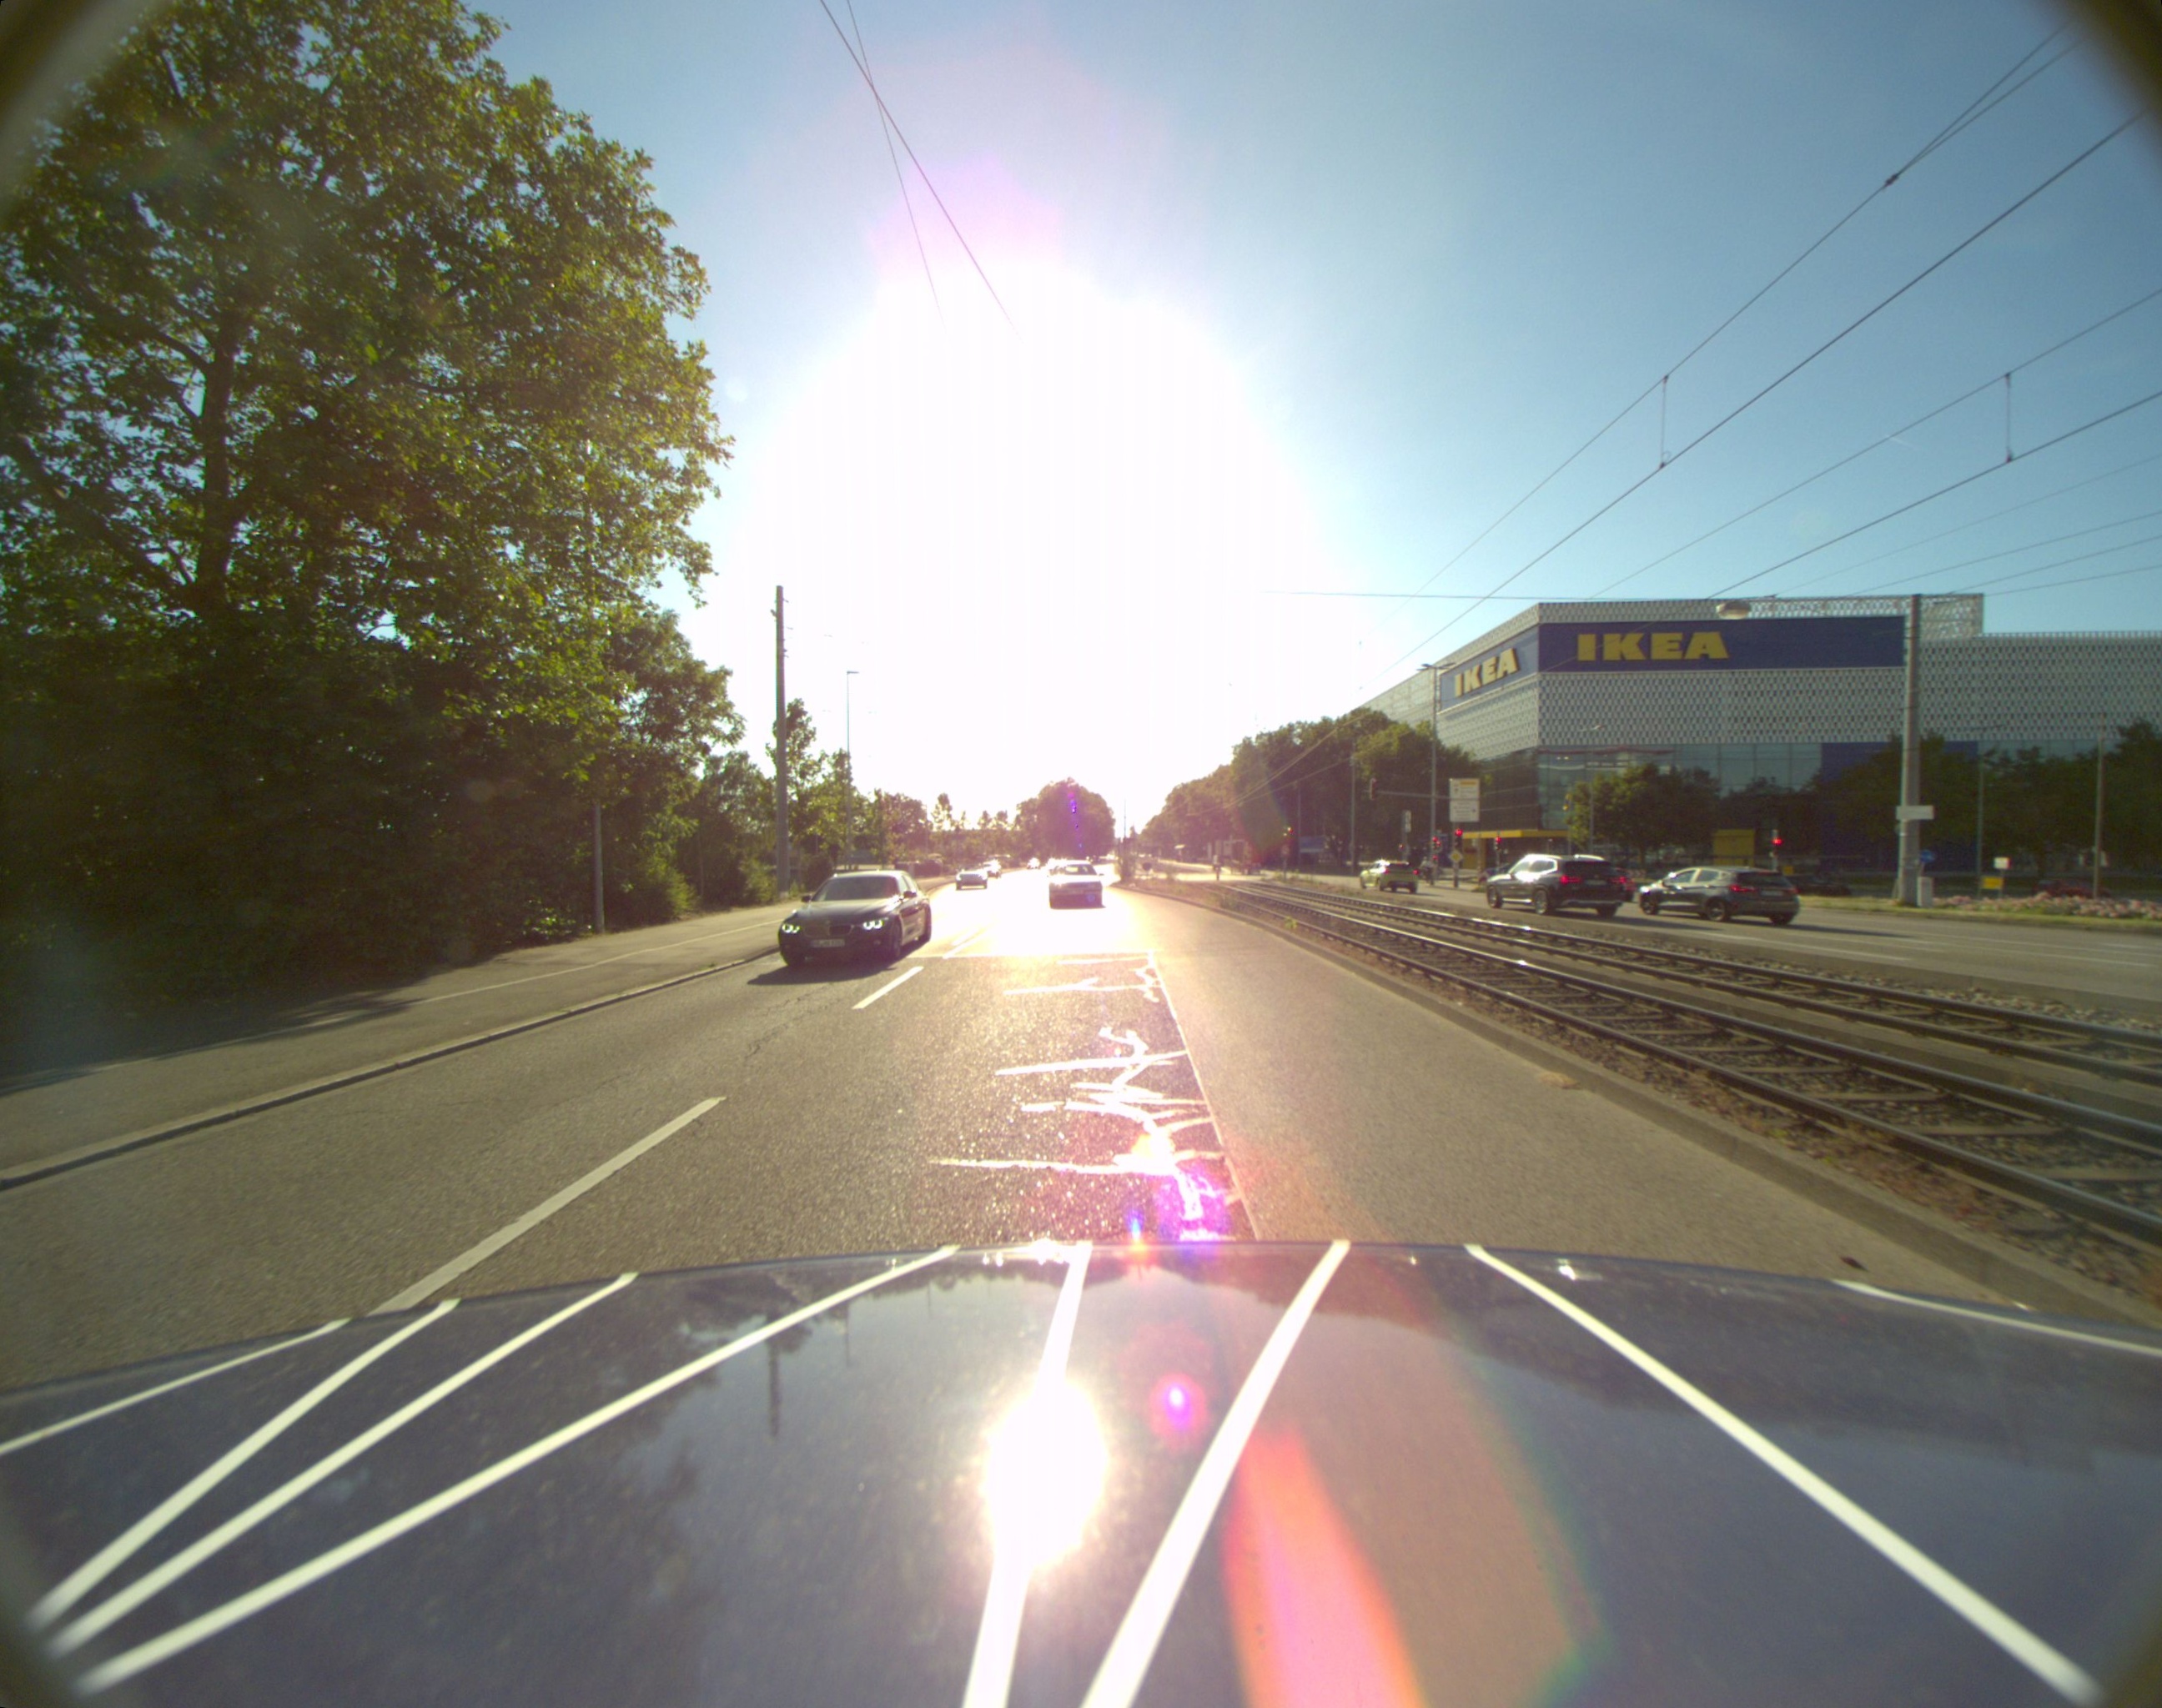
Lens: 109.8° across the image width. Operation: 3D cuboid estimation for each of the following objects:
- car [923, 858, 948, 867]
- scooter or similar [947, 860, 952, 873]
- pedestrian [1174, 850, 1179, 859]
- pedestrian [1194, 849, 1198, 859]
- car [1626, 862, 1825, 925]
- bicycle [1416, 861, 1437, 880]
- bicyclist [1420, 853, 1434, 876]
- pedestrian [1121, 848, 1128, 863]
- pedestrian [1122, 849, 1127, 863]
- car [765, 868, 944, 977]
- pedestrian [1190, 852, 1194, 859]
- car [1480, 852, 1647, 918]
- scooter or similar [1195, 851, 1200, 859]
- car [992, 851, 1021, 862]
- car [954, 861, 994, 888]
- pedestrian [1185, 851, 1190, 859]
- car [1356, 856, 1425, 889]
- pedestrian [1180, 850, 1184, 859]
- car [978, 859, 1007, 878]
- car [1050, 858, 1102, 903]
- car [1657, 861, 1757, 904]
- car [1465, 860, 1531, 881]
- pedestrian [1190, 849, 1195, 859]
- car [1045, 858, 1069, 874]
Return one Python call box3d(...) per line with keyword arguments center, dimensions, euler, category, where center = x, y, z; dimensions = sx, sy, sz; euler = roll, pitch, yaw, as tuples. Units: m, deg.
box3d(center=(-29.907, 1.765, 156.399), dimensions=(4.660, 1.560, 1.859), euler=(-3, 0, 0), category="car")
box3d(center=(-13.199, 1.249, 76.322), dimensions=(0.525, 1.224, 1.265), euler=(0, 1, -11), category="scooter or similar")
box3d(center=(18.008, 0.156, 143.435), dimensions=(0.763, 1.700, 0.678), euler=(-2, 0, 4), category="pedestrian")
box3d(center=(19.004, -0.029, 125.987), dimensions=(0.603, 1.610, 0.691), euler=(-2, 1, 7), category="pedestrian")
box3d(center=(17.018, 0.977, 20.395), dimensions=(1.861, 1.452, 4.137), euler=(0, 0, 1), category="car")
box3d(center=(22.378, 1.041, 49.223), dimensions=(0.589, 1.161, 1.992), euler=(-1, 0, 3), category="bicycle")
box3d(center=(22.388, 0.682, 49.121), dimensions=(0.589, 1.514, 0.751), euler=(-1, 1, 3), category="bicyclist")
box3d(center=(5.324, 0.155, 92.267), dimensions=(0.708, 1.765, 0.535), euler=(-3, 1, 7), category="pedestrian")
box3d(center=(5.210, 0.263, 90.484), dimensions=(0.535, 1.647, 0.751), euler=(-2, 1, 5), category="pedestrian")
box3d(center=(-3.790, 1.064, 13.634), dimensions=(1.871, 1.459, 4.585), euler=(-2, 1, -1), category="car")
box3d(center=(18.818, 0.198, 128.687), dimensions=(0.603, 1.217, 0.617), euler=(-2, 1, 6), category="pedestrian")
box3d(center=(13.645, 0.801, 21.889), dimensions=(1.998, 1.646, 4.659), euler=(1, 0, 3), category="car")
box3d(center=(18.777, 0.180, 122.885), dimensions=(0.665, 1.227, 1.372), euler=(-1, 0, 2), category="scooter or similar")
box3d(center=(-14.460, 0.495, 147.545), dimensions=(5.349, 2.010, 2.104), euler=(-3, 0, 1), category="car")
box3d(center=(-6.185, 1.146, 44.258), dimensions=(1.857, 1.415, 3.979), euler=(-1, 0, -2), category="car")
box3d(center=(18.805, 0.188, 134.277), dimensions=(0.654, 1.245, 0.685), euler=(-3, 0, 0), category="pedestrian")
box3d(center=(14.674, 0.838, 36.296), dimensions=(1.787, 1.439, 4.108), euler=(1, 0, 3), category="car")
box3d(center=(18.358, 0.122, 137.717), dimensions=(0.661, 1.623, 0.777), euler=(-2, 1, 4), category="pedestrian")
box3d(center=(-7.625, 1.243, 65.861), dimensions=(1.740, 1.502, 4.001), euler=(-2, 0, 5), category="car")
box3d(center=(-0.114, 0.894, 27.238), dimensions=(1.602, 1.440, 3.800), euler=(-2, 0, 3), category="car")
box3d(center=(26.296, 1.148, 32.103), dimensions=(1.823, 1.633, 4.005), euler=(1, 0, 17), category="car")
box3d(center=(34.262, 1.338, 62.582), dimensions=(4.252, 1.489, 2.017), euler=(2, 1, 7), category="car")
box3d(center=(19.088, -0.007, 130.239), dimensions=(0.733, 1.682, 0.687), euler=(-3, 0, 2), category="pedestrian")
box3d(center=(-2.327, 1.153, 74.024), dimensions=(1.871, 1.422, 3.832), euler=(-3, 0, 4), category="car")
